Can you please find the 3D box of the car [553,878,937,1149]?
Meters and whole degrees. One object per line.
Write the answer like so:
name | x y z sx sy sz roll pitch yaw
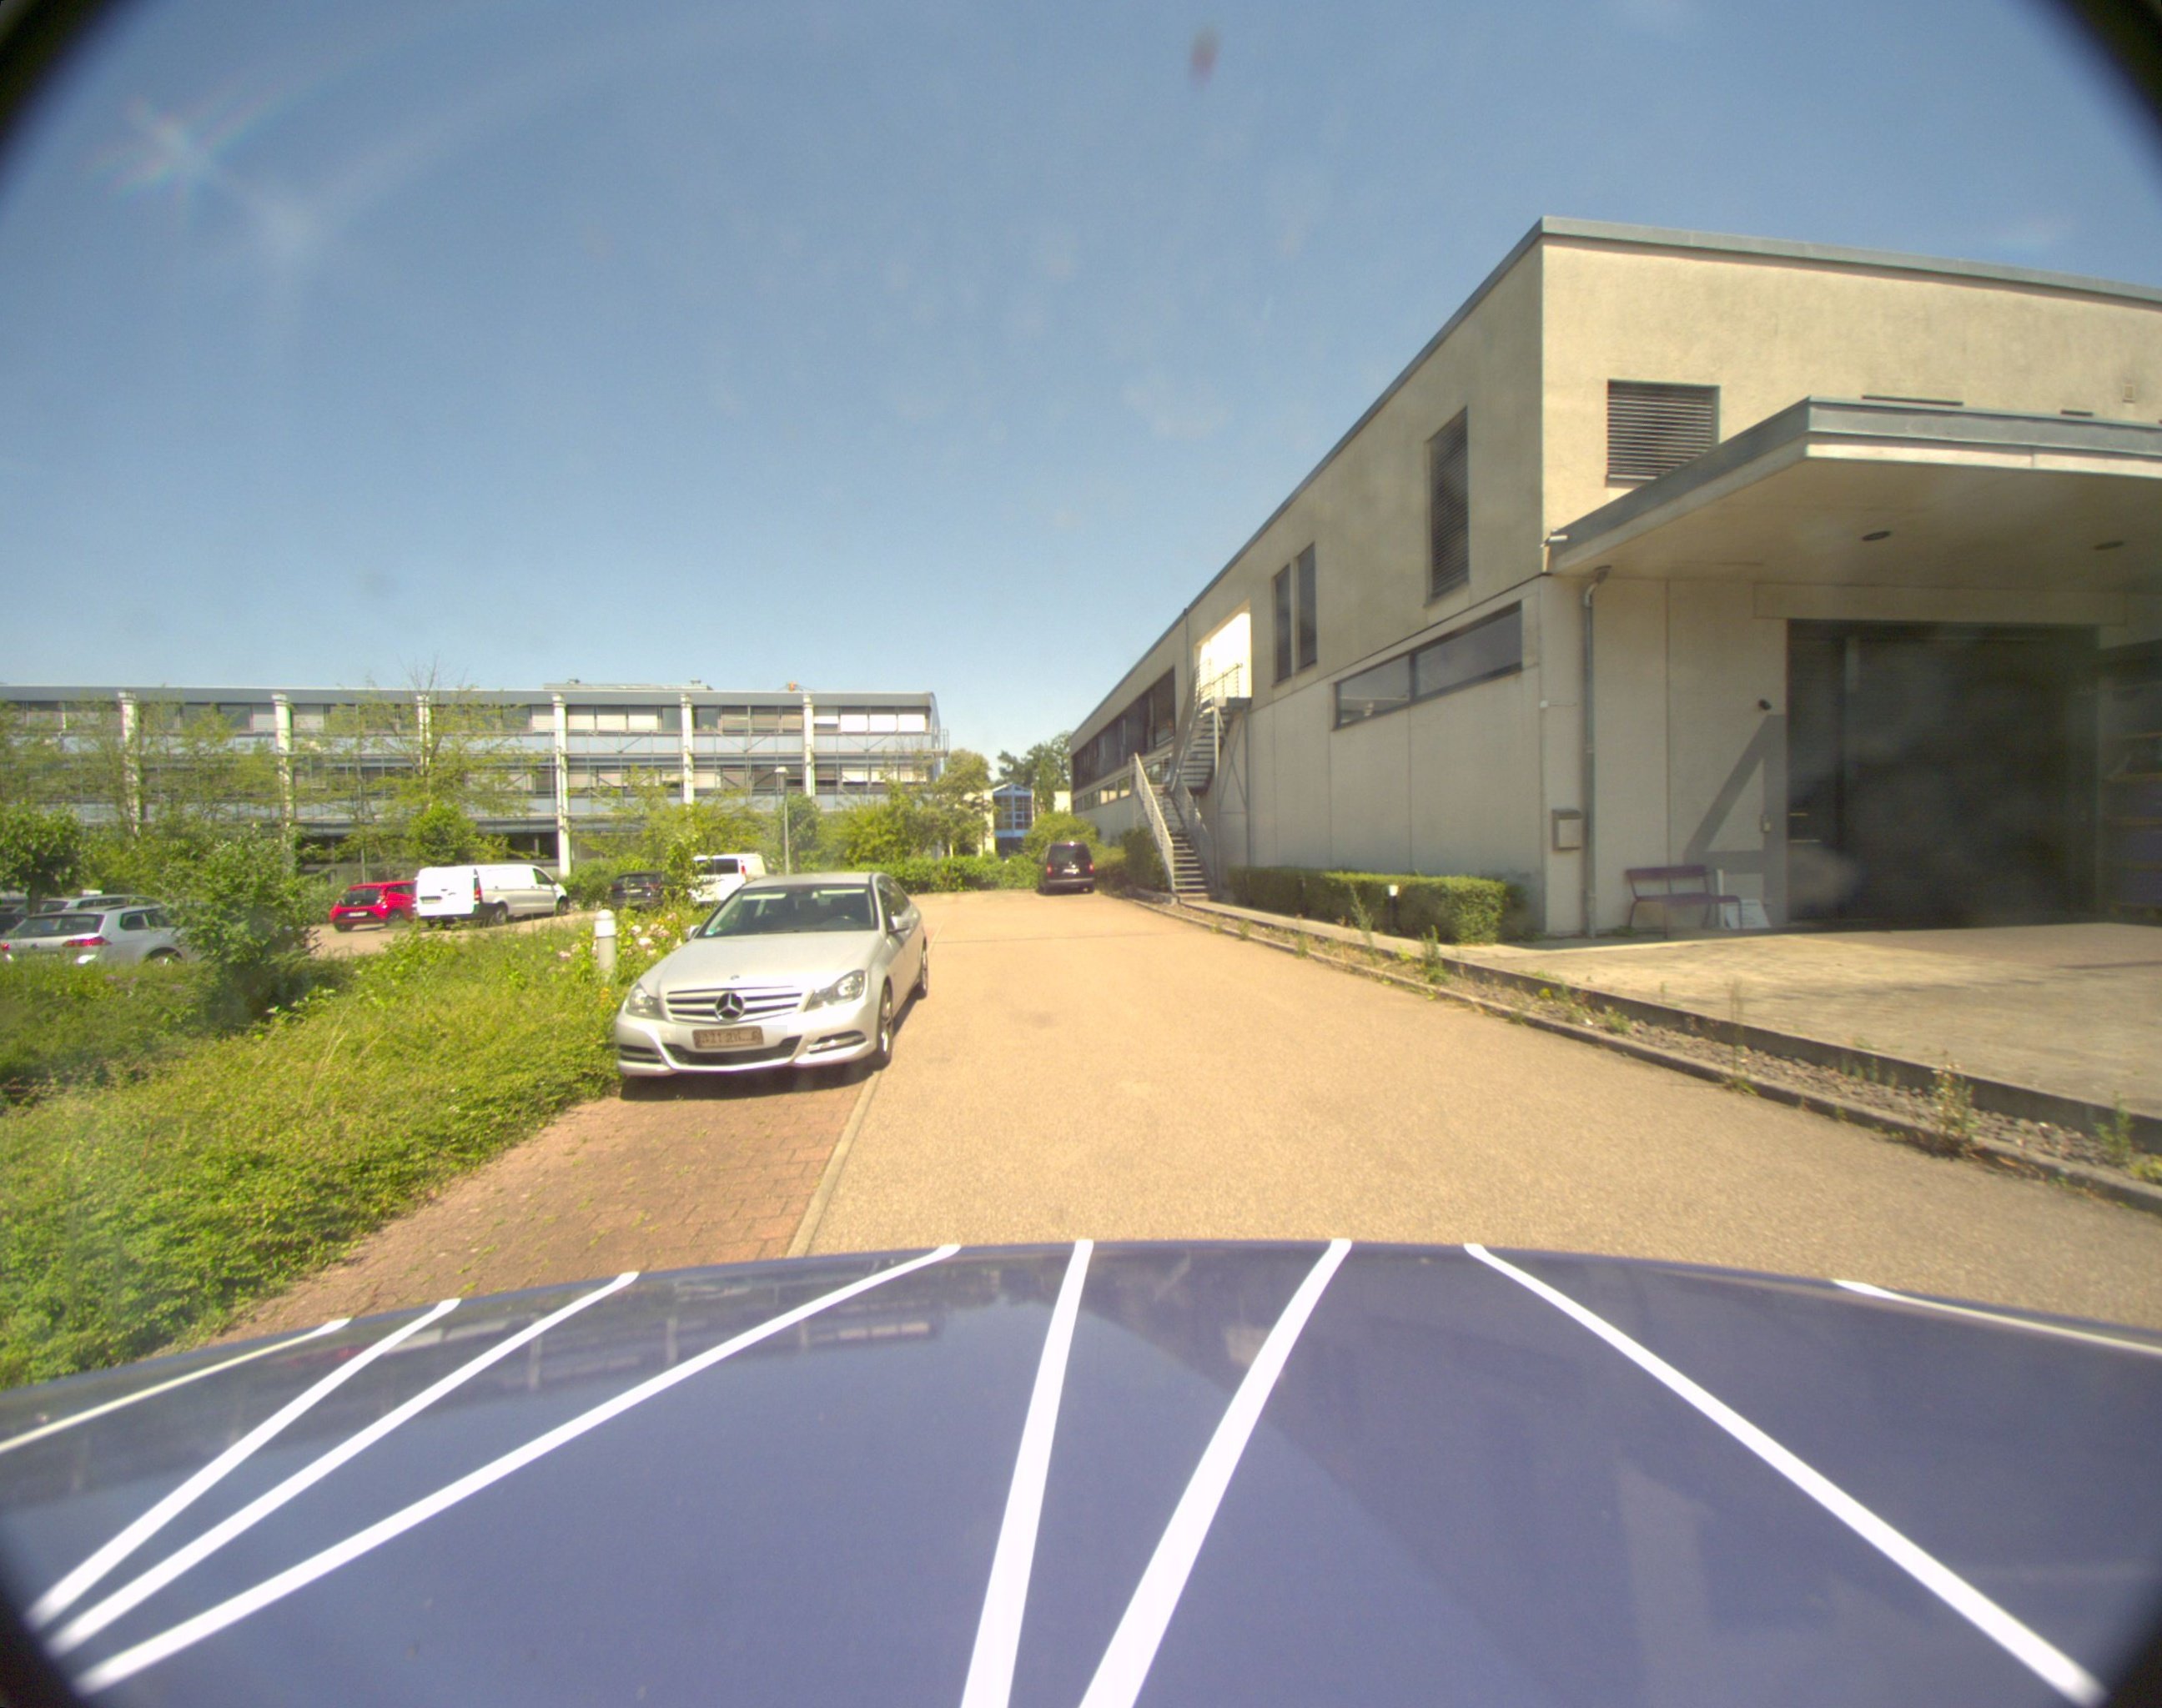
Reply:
car | -2.466 1.045 6.893 1.804 1.390 4.417 -2 1 -5

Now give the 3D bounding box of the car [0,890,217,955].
car | -29.630 2.023 23.298 1.739 1.475 4.082 -3 1 -6

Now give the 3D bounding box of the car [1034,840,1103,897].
car | -0.550 0.466 27.936 1.868 1.849 4.225 -3 1 -9

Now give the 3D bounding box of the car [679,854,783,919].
car | -11.556 0.984 25.454 1.868 1.849 4.672 -3 1 -9

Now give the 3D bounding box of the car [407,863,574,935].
car | -18.686 1.324 24.405 1.856 1.845 4.931 -3 1 -7

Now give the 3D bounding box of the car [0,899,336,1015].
car | -17.033 1.785 14.397 1.857 1.511 4.424 -3 1 -9

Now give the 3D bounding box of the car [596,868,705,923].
car | -14.266 1.309 25.471 1.739 1.475 4.194 -3 1 -9

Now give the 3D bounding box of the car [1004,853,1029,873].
car | -5.989 0.804 70.334 1.837 1.558 3.994 -2 2 -12

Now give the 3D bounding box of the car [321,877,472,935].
car | -22.197 1.622 24.861 1.624 1.479 3.918 -3 1 -7
